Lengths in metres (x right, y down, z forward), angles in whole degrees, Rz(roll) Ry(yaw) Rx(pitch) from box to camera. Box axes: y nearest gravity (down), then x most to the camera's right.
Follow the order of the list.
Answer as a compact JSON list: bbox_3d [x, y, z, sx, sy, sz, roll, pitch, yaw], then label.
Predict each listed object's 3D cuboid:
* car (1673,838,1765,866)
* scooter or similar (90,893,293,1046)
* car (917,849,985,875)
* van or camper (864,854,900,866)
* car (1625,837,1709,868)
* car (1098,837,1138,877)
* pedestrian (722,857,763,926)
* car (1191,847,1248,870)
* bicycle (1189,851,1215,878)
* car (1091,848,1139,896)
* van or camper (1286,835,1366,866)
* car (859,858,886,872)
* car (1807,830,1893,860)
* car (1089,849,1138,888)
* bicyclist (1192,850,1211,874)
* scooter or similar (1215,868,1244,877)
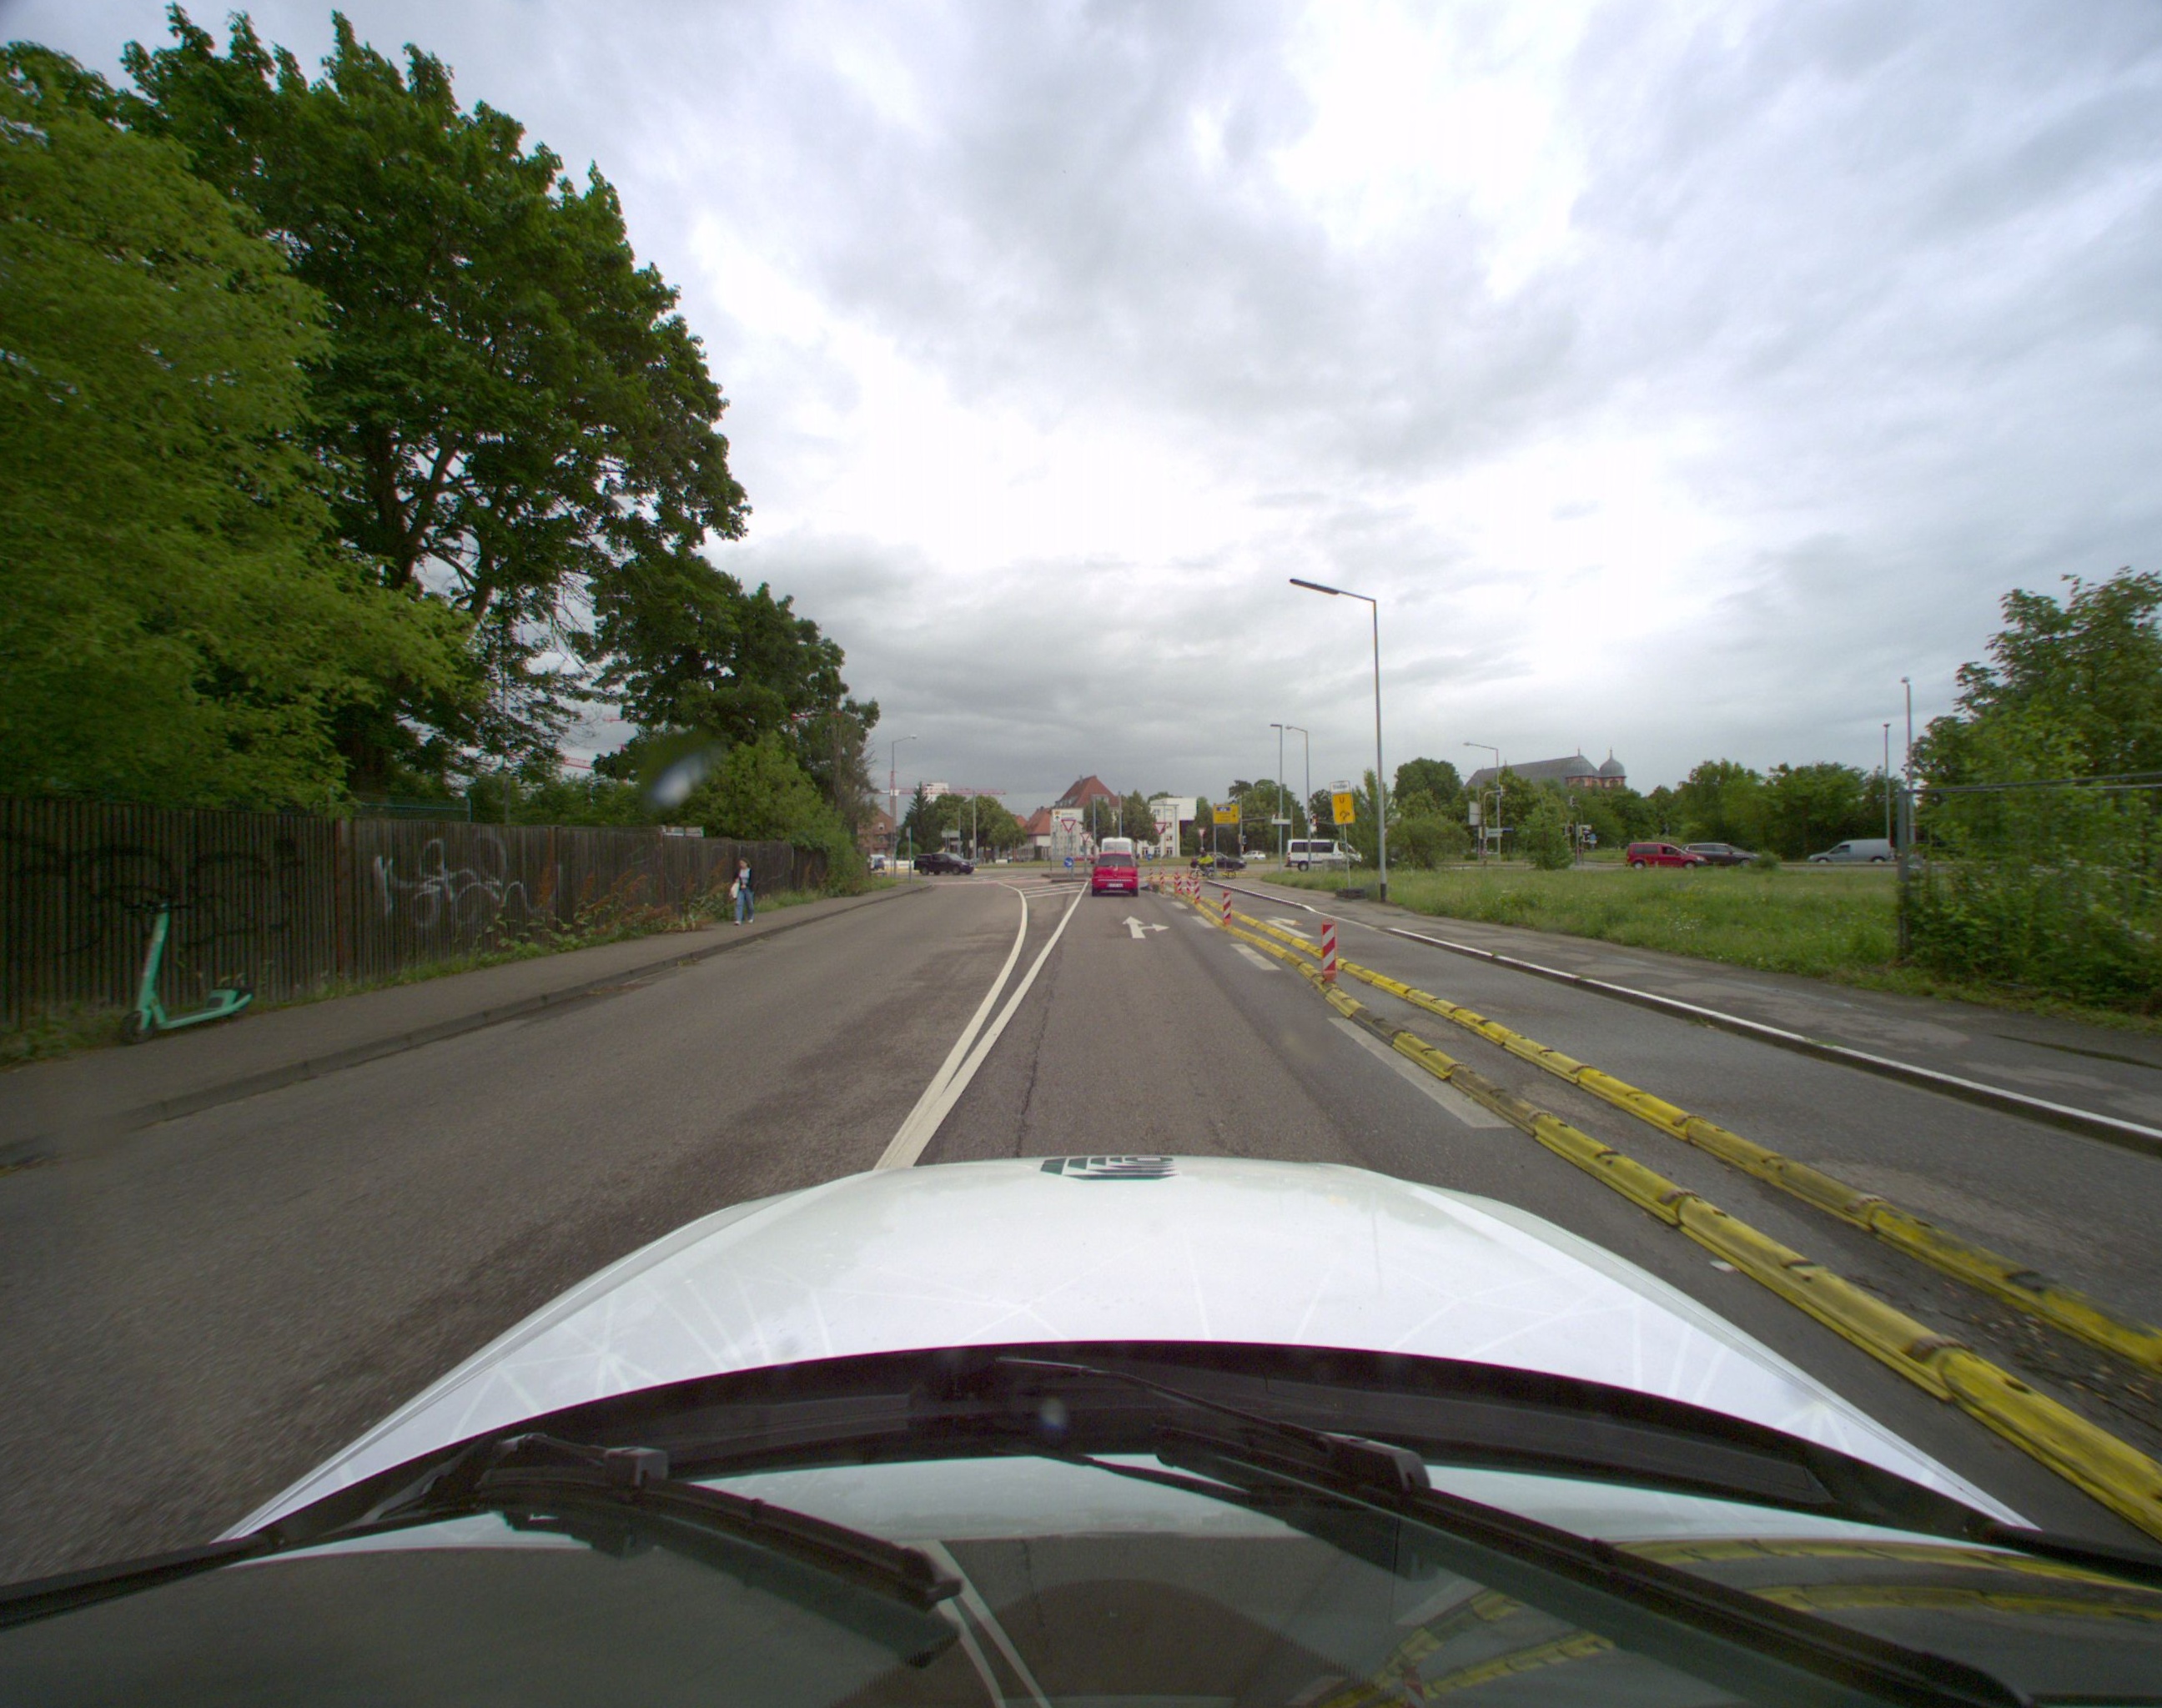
[{"bbox_3d":[41.900,-0.116,53.527,4.550,1.795,2.128,-1,0,43],"label":"car"},{"bbox_3d":[-7.873,0.973,7.281,0.422,1.170,1.302,-1,0,-3],"label":"scooter or similar"},{"bbox_3d":[-10.659,0.671,66.593,4.982,1.972,2.236,-1,0,22],"label":"car"},{"bbox_3d":[-35.980,1.069,147.263,6.135,2.013,2.007,-1,0,12],"label":"van or camper"},{"bbox_3d":[37.738,-0.089,52.523,4.155,1.917,2.128,-1,0,42],"label":"car"},{"bbox_3d":[2.511,0.190,53.613,2.183,2.540,4.973,0,0,8],"label":"car"},{"bbox_3d":[-7.762,0.839,18.696,0.611,1.529,0.723,-1,0,-3],"label":"pedestrian"},{"bbox_3d":[11.009,0.339,64.663,4.332,1.750,2.006,-1,0,11],"label":"car"},{"bbox_3d":[7.197,0.615,48.554,1.470,1.612,0.607,-1,0,5],"label":"bicycle"},{"bbox_3d":[1.254,0.629,30.095,1.667,1.640,3.629,0,0,2],"label":"car"},{"bbox_3d":[17.770,-0.248,59.345,5.495,2.115,2.007,-1,0,13],"label":"van or camper"},{"bbox_3d":[-23.782,1.204,92.991,1.923,1.489,4.002,-1,0,2],"label":"car"},{"bbox_3d":[56.142,-0.628,59.508,2.011,2.013,4.424,-1,0,-43],"label":"car"},{"bbox_3d":[1.472,0.614,36.807,2.052,1.648,4.609,0,0,2],"label":"car"},{"bbox_3d":[7.181,0.449,48.554,1.056,1.401,0.616,-1,0,5],"label":"bicyclist"},{"bbox_3d":[8.795,1.100,48.386,1.600,0.504,0.926,-1,0,4],"label":"scooter or similar"}]
